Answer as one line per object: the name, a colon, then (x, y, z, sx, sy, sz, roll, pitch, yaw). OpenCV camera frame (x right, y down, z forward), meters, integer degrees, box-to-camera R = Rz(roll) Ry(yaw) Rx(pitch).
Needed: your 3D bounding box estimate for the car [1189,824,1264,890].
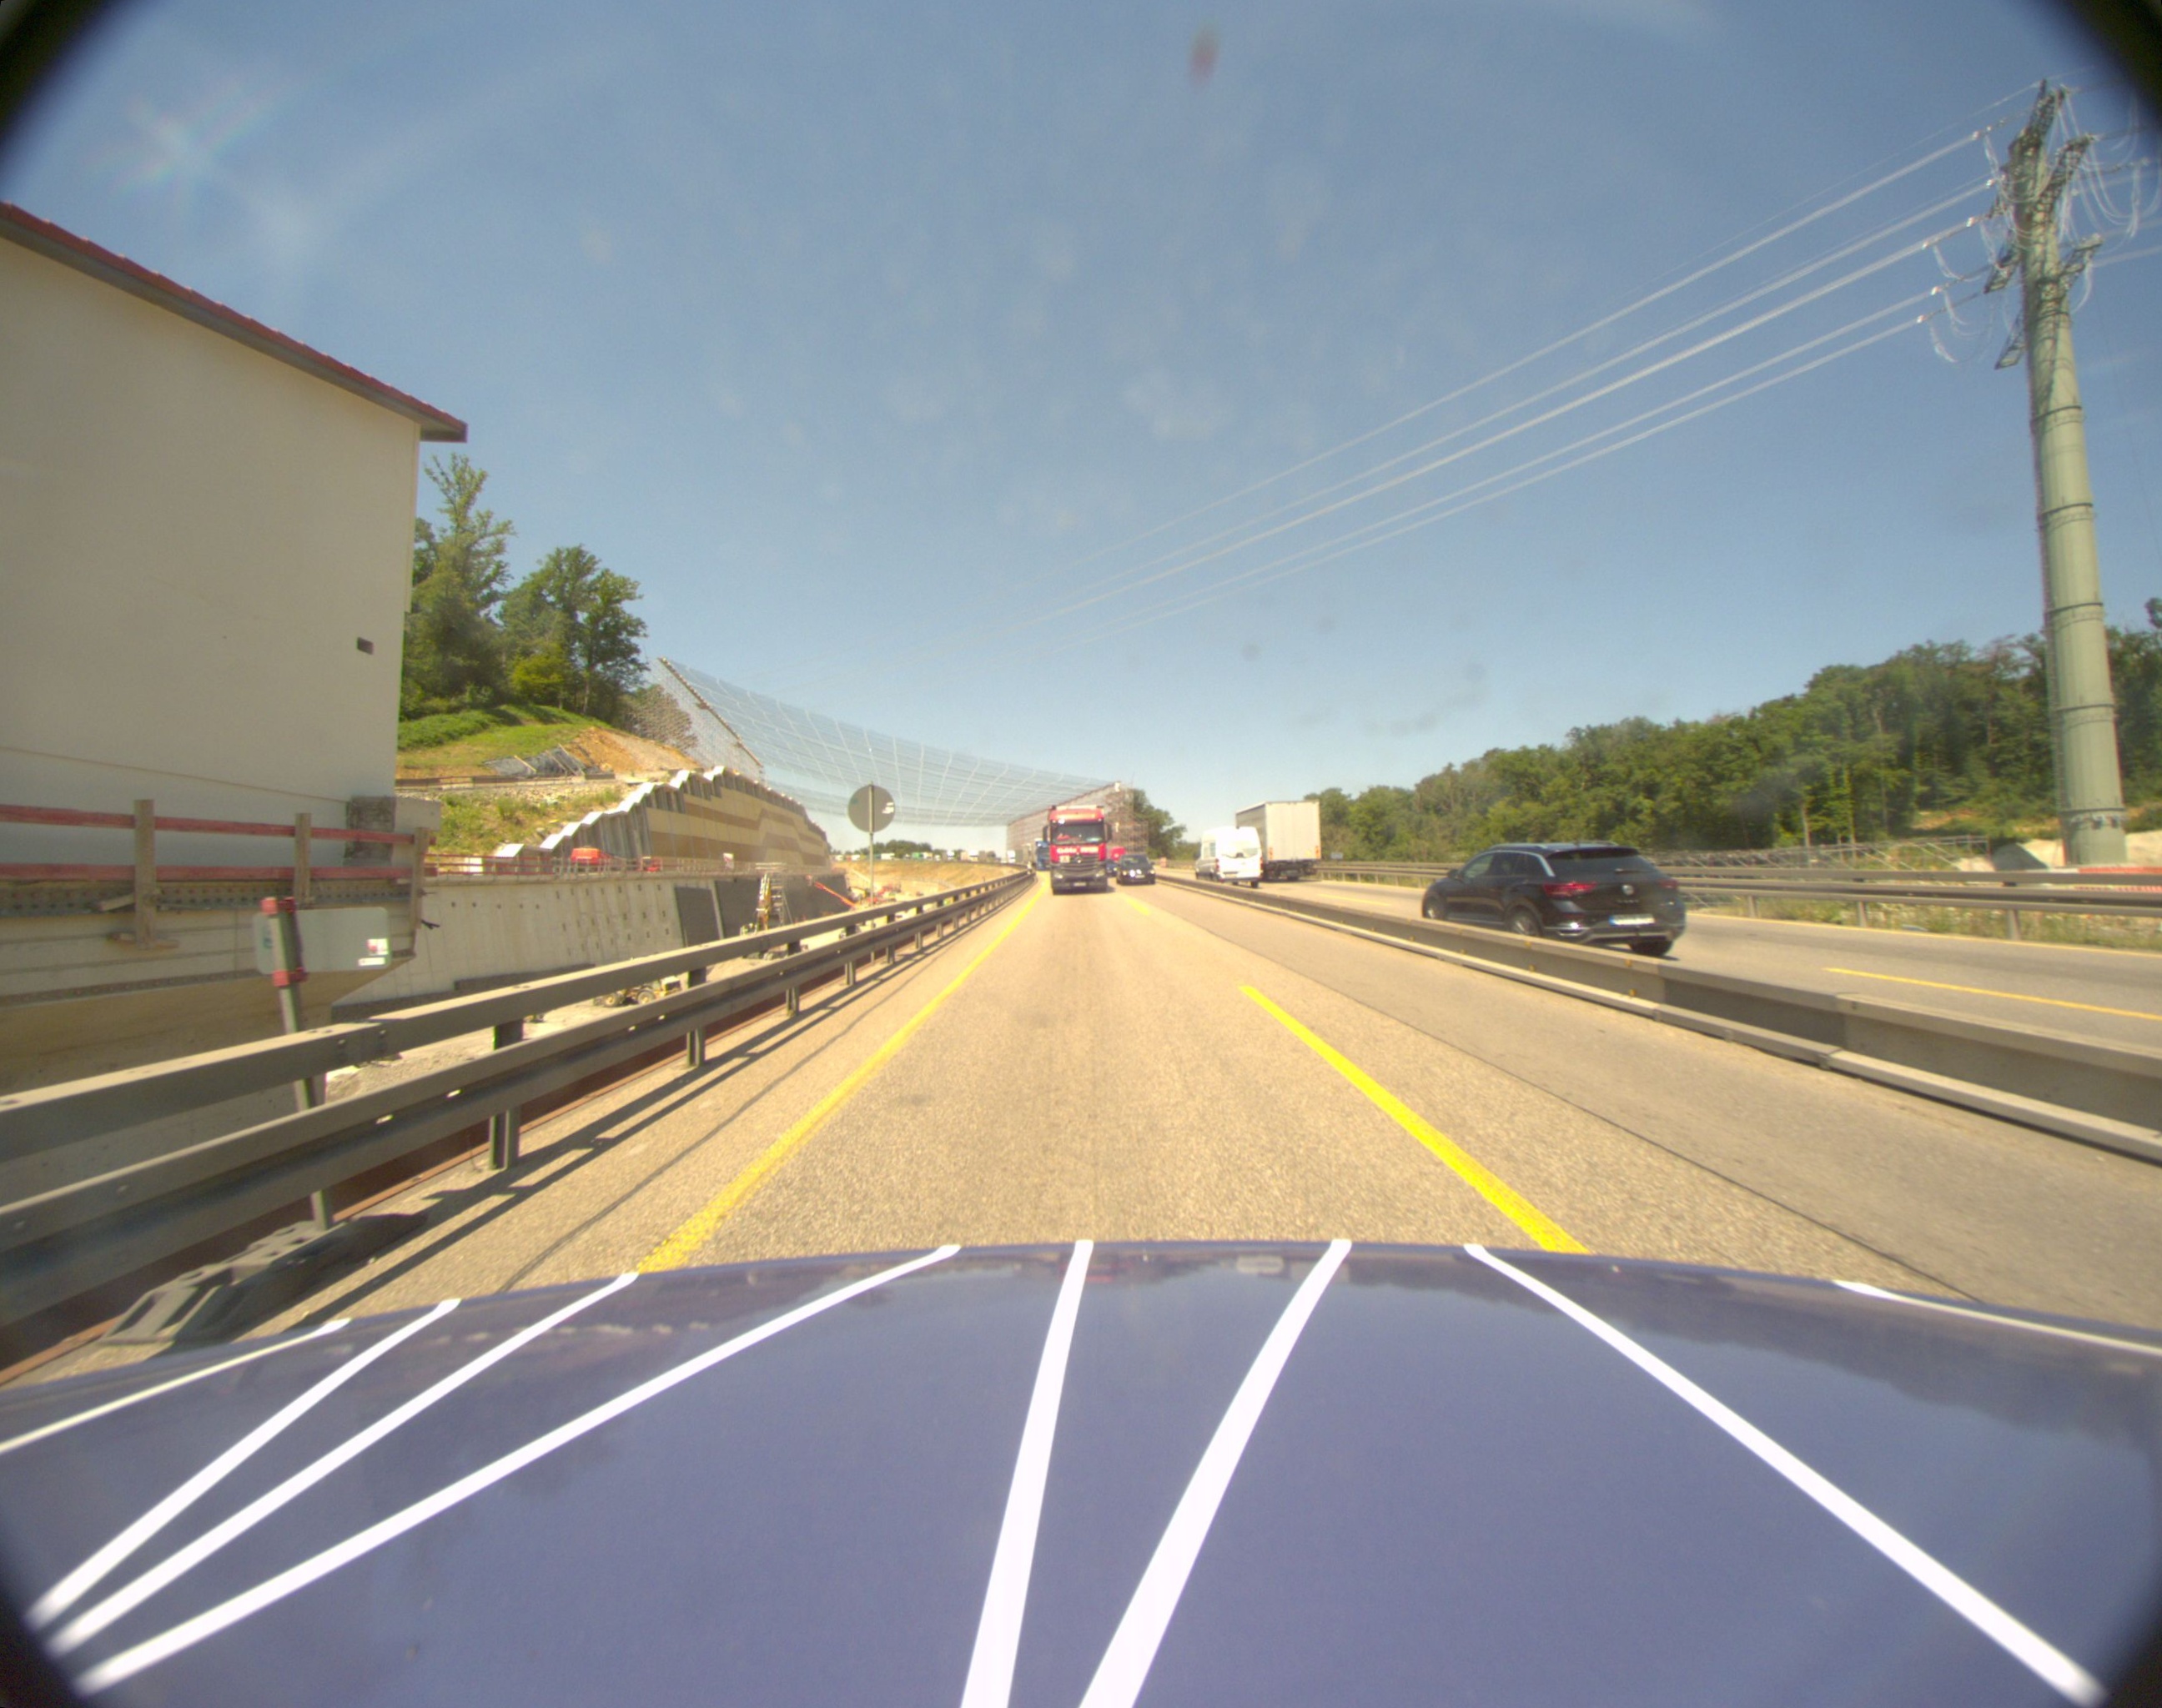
car: (6.502, 0.069, 34.697, 1.975, 2.664, 6.659, -2, 1, -1)

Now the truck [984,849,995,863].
truck: (-26.863, 0.494, 223.916, 3.043, 4.033, 8.669, -3, 1, -6)

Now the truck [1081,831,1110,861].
truck: (2.482, -1.354, 135.580, 3.220, 4.982, 11.254, -3, 1, -7)

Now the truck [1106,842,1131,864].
truck: (5.111, -0.106, 105.127, 2.211, 2.847, 6.494, -3, 1, -7)

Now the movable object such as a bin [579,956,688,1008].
movable object such as a bin: (-26.290, 7.509, 44.797, 5.118, 2.577, 2.060, -3, 0, 1)

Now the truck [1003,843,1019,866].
truck: (-15.078, 0.107, 163.004, 3.043, 4.778, 8.936, -3, 1, -6)

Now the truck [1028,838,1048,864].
truck: (-7.395, -0.515, 128.603, 2.911, 4.207, 9.236, -3, 1, -5)

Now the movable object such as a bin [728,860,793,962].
movable object such as a bin: (-24.814, 4.229, 59.177, 2.935, 7.311, 6.233, -3, 1, -10)

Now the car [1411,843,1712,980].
car: (6.530, 0.670, 10.951, 1.734, 1.542, 4.035, -3, 0, 0)

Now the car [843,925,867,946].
car: (-26.810, 9.629, 90.220, 2.000, 2.002, 3.997, -3, 1, -6)

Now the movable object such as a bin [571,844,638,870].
movable object such as a bin: (-38.925, 0.202, 62.278, 2.081, 2.002, 5.353, -3, 1, -1)

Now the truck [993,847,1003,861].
truck: (-26.646, 0.009, 244.287, 2.985, 4.140, 8.937, -3, 1, -5)

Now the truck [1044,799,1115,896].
truck: (-0.148, -0.336, 37.201, 2.798, 3.986, 10.427, -3, 1, -1)

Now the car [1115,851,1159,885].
car: (3.038, 0.745, 42.276, 1.861, 1.695, 5.303, -2, -1, -2)

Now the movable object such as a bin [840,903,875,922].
movable object such as a bin: (-34.809, 9.009, 118.113, 5.485, 2.621, 2.224, -2, 1, 37)

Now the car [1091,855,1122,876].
car: (1.912, 0.890, 59.180, 1.896, 1.546, 4.785, -2, -1, -4)

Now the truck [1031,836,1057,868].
truck: (-5.050, -0.326, 101.459, 2.673, 3.986, 10.422, -3, 1, -6)

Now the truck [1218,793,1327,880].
truck: (9.954, -0.893, 40.954, 2.808, 3.977, 10.549, -3, 1, -1)
